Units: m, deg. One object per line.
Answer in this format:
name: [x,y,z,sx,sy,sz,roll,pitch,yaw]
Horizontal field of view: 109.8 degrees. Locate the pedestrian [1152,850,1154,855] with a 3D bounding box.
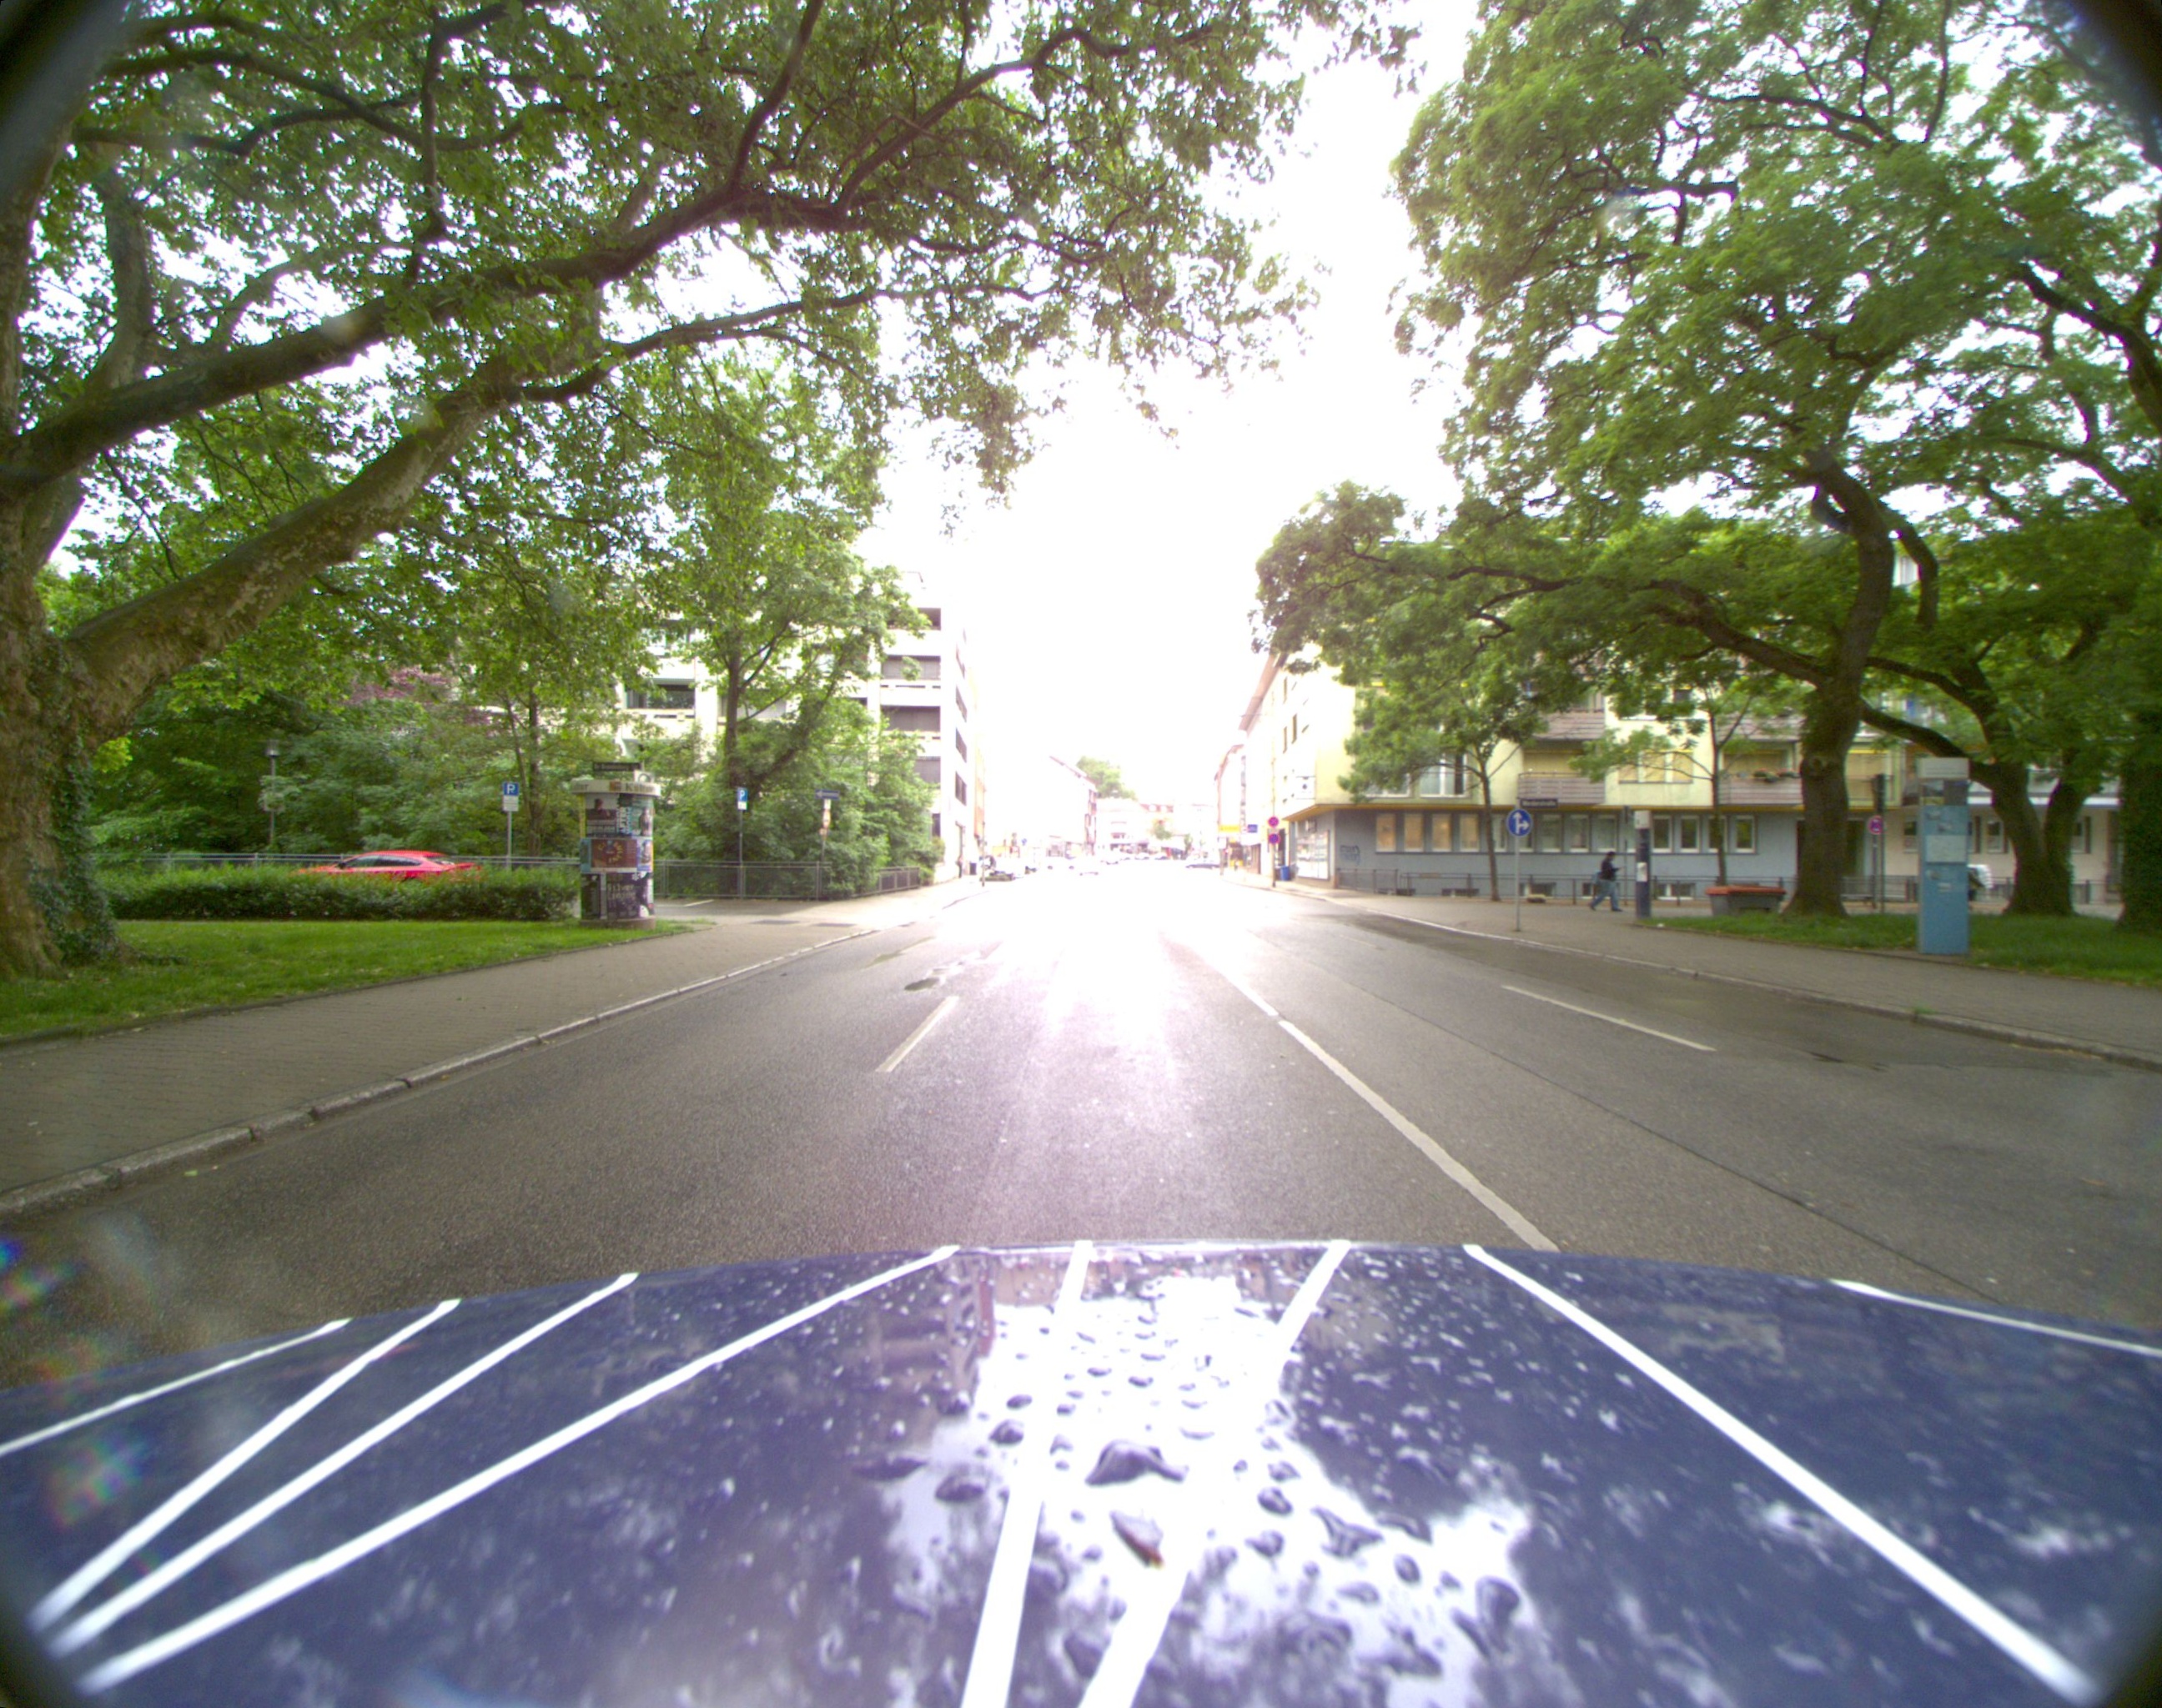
pedestrian: [17.523,-0.293,184.637,0.379,1.283,0.401,0,1,38]

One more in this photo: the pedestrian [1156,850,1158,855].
pedestrian: [17.909,-0.311,178.876,0.379,1.283,0.401,0,1,40]

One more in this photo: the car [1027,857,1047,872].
car: [-4.956,1.130,84.771,1.758,1.559,3.997,-2,0,-9]

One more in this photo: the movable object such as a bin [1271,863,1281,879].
movable object such as a bin: [13.017,1.117,50.620,0.517,0.994,0.524,-4,0,8]

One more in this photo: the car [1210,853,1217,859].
car: [33.643,0.402,193.210,1.591,1.518,3.491,0,0,14]

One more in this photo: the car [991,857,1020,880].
car: [-5.310,0.985,53.532,1.706,1.549,3.804,1,0,-1]

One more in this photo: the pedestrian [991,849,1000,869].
pedestrian: [-9.388,0.530,83.140,0.806,2.140,0.737,0,1,-23]

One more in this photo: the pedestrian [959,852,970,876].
pedestrian: [-8.013,0.685,52.329,0.599,1.650,0.691,3,0,-7]

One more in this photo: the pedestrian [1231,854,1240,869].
pedestrian: [16.863,0.826,82.742,0.785,1.578,0.674,-2,0,21]

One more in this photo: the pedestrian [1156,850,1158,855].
pedestrian: [18.378,-0.316,183.200,0.379,1.283,0.401,0,1,38]

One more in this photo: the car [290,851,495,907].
car: [-19.552,0.689,21.743,3.999,1.473,1.875,1,1,-5]

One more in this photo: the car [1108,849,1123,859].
car: [5.949,-0.001,130.671,2.016,1.754,4.766,1,0,9]

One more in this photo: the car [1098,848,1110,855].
car: [4.339,-0.438,143.223,1.736,1.389,3.744,0,0,11]

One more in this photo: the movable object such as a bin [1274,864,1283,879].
movable object such as a bin: [12.935,1.138,49.843,0.465,0.922,0.428,-4,0,8]

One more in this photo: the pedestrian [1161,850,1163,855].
pedestrian: [19.000,-0.308,178.810,0.379,1.283,0.401,0,1,39]

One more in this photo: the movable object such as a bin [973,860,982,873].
movable object such as a bin: [-8.564,1.009,62.824,0.681,1.097,0.514,0,0,-1]

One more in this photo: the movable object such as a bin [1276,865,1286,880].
movable object such as a bin: [12.788,1.170,48.656,0.529,0.890,0.435,-4,0,8]

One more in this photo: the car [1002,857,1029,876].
car: [-5.148,0.999,60.465,1.835,1.412,4.569,1,0,-1]

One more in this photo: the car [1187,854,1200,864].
car: [17.979,0.793,121.368,1.834,1.612,4.003,0,0,10]

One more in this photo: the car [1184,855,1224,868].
car: [15.579,0.950,96.575,4.964,1.596,1.563,1,0,5]

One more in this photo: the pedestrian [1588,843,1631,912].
pedestrian: [15.755,0.690,22.669,0.783,2.002,0.751,0,1,-24]

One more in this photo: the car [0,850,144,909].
car: [-29.531,0.685,21.394,3.932,1.561,1.735,1,0,-4]

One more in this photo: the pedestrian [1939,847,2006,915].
pedestrian: [25.582,0.768,21.817,0.918,1.913,0.820,0,1,6]

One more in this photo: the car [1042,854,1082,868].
car: [-2.329,0.846,93.471,4.687,1.559,1.758,-2,0,2]

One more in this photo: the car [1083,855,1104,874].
car: [1.127,0.895,67.489,1.756,1.559,4.000,-2,0,1]

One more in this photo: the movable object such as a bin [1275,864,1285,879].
movable object such as a bin: [12.868,1.158,49.232,0.529,0.922,0.426,-4,0,8]

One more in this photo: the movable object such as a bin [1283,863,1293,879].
movable object such as a bin: [13.122,1.097,48.130,0.529,0.955,0.435,-4,0,8]

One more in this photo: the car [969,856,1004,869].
car: [-11.698,1.052,93.955,3.967,1.559,1.598,-2,0,2]
